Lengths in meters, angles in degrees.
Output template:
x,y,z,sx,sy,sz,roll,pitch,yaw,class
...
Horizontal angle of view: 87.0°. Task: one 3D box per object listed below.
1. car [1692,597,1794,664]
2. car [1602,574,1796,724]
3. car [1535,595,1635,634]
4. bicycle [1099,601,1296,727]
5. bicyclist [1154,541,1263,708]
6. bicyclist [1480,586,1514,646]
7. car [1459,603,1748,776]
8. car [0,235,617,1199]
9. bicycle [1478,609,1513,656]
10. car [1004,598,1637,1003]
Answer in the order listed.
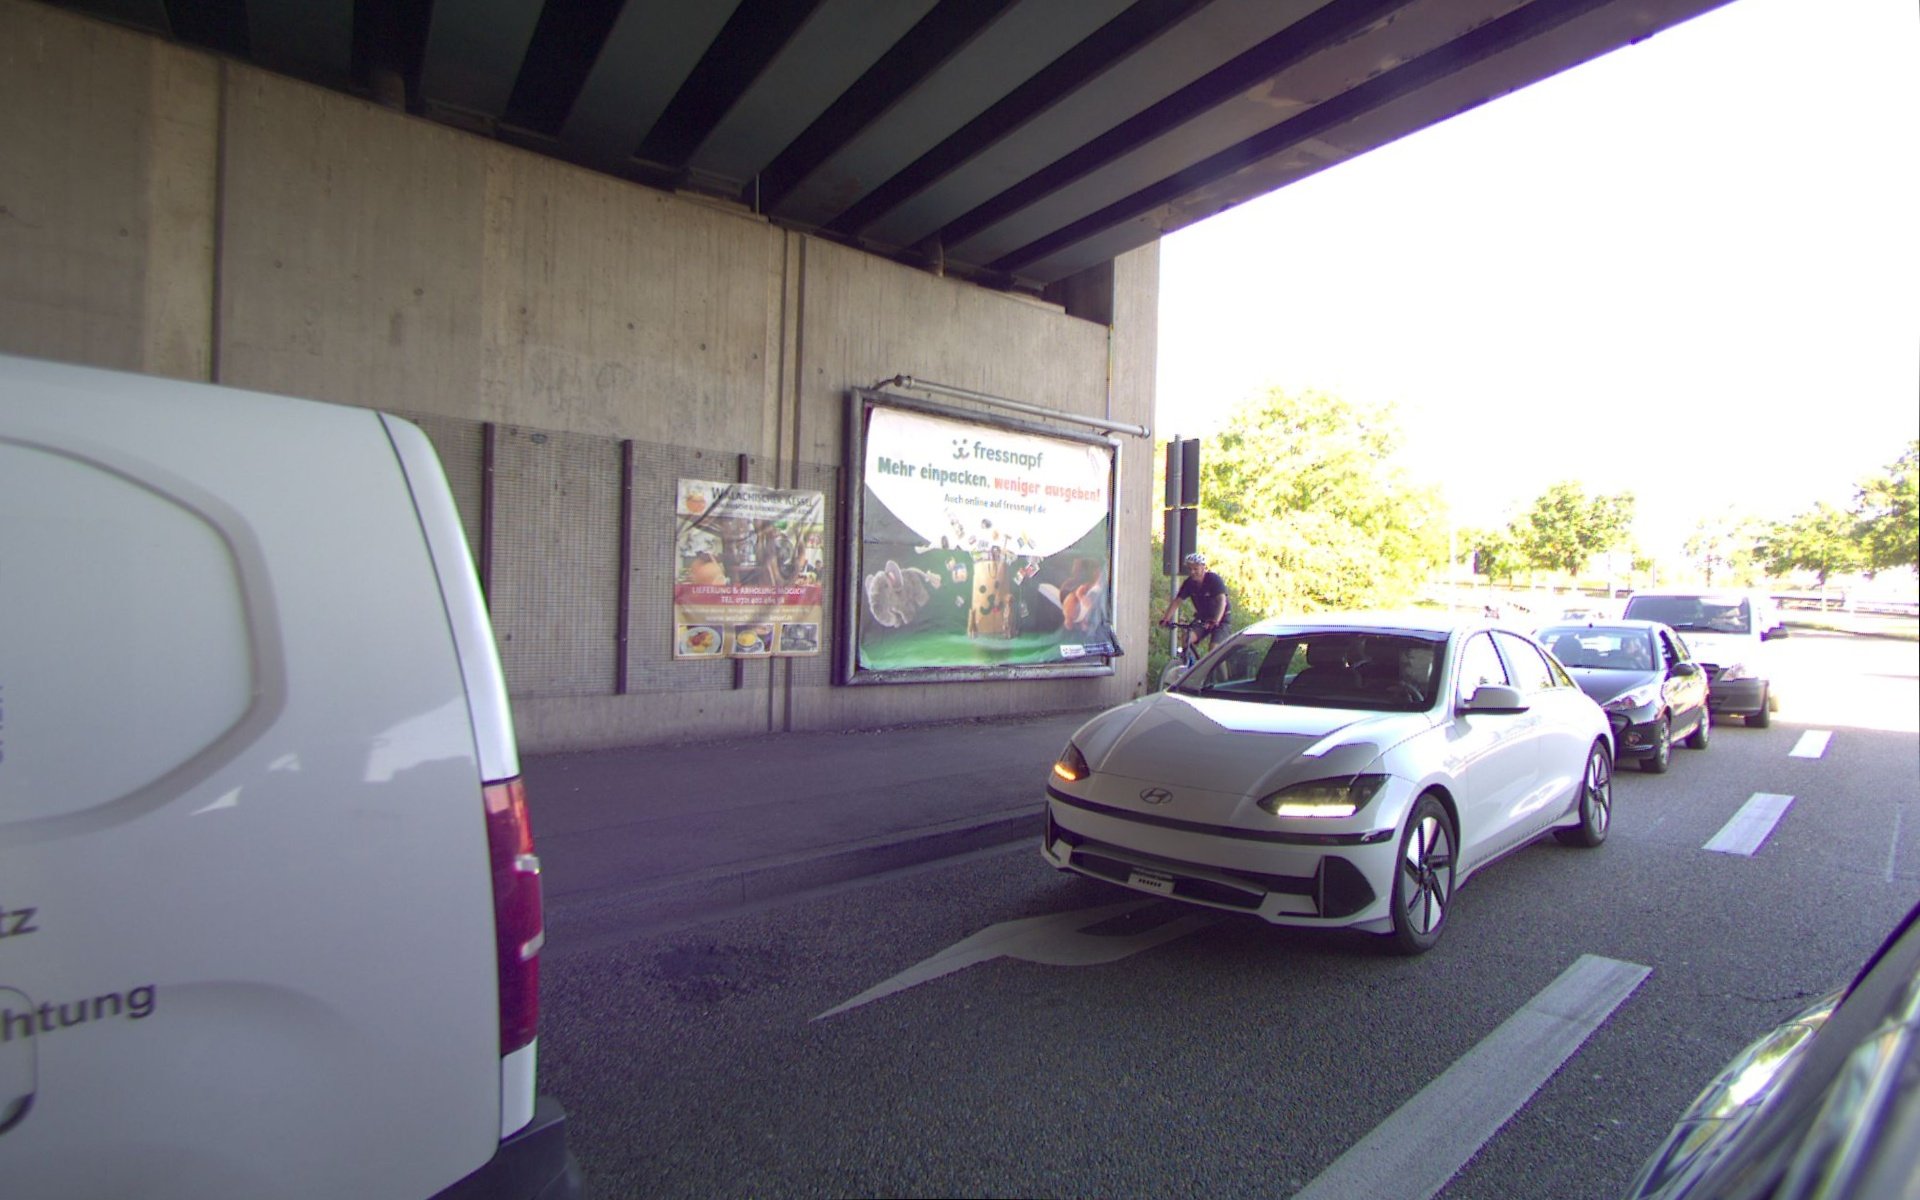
x,y,z,sx,sy,sz,roll,pitch,yaw,class
20.537,0.714,26.527,1.990,1.570,4.359,0,1,39,car
11.079,0.607,15.027,1.896,1.859,4.762,0,0,42,car
27.103,0.608,43.872,4.444,1.616,1.822,0,1,-30,car
2.551,0.607,10.659,2.427,1.160,0.766,-1,0,-42,bicycle
2.634,0.240,10.721,0.871,1.676,0.748,0,0,-41,bicyclist
14.507,0.415,27.340,0.650,1.552,0.837,4,2,33,bicyclist
6.886,0.783,10.690,3.654,1.474,1.747,0,0,-43,car
-2.695,0.511,0.784,4.227,1.857,1.815,1,-1,-43,car
14.451,0.850,27.298,0.648,1.181,1.757,4,2,32,bicycle
2.439,0.731,5.958,1.746,1.474,4.589,0,0,45,car
